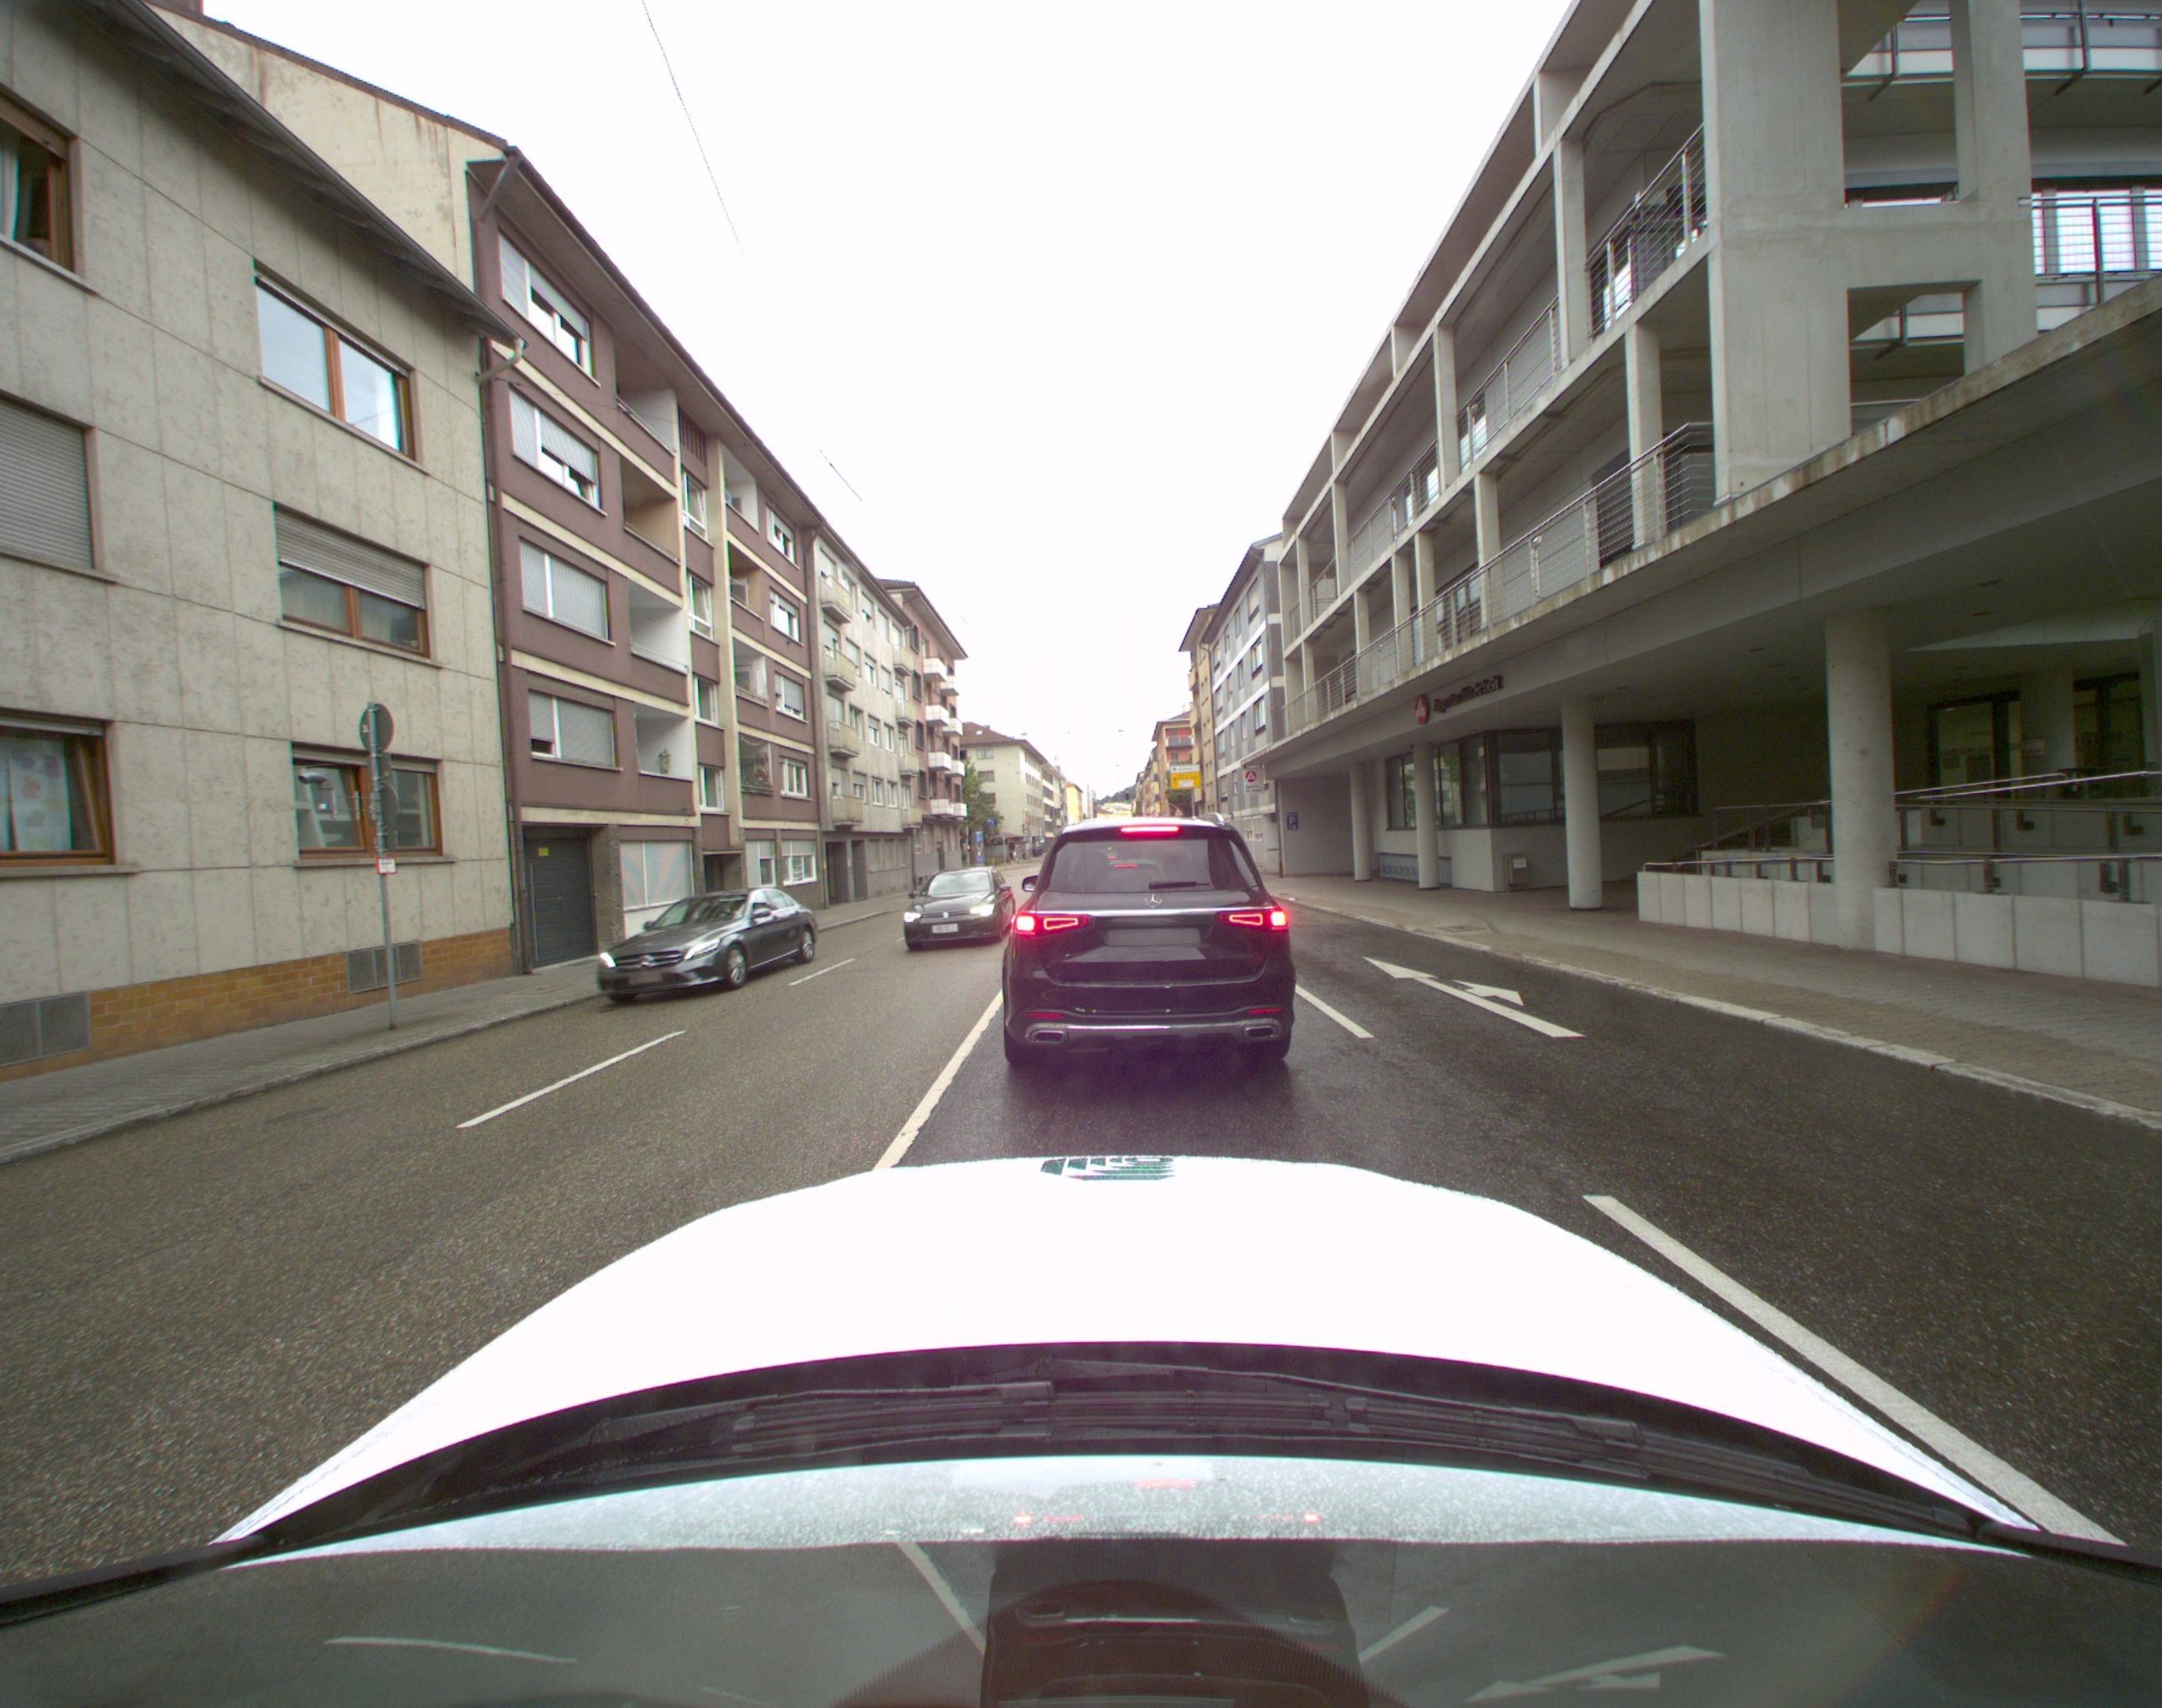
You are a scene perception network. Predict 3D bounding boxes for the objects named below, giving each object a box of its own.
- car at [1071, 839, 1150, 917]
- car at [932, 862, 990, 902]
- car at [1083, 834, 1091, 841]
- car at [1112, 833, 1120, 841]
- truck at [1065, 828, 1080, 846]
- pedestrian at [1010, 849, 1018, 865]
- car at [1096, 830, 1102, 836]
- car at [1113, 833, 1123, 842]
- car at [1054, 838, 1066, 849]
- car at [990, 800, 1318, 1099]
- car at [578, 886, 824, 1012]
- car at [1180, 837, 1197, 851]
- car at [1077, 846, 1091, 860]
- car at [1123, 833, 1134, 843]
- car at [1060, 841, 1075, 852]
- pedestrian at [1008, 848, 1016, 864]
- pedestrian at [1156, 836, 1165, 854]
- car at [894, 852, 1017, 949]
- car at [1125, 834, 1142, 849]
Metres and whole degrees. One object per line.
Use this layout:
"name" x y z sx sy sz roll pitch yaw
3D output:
"car" 0.669 0.585 20.966 1.746 1.731 4.216 -3 -1 0
"car" -4.969 1.130 34.126 1.593 1.370 4.362 -6 0 1
"car" 1.454 -3.939 193.979 1.613 1.539 4.216 -4 -1 0
"car" 7.822 -3.704 182.676 1.613 1.539 4.216 -4 -1 0
"truck" -1.599 -3.164 157.379 2.472 3.046 9.917 -4 -1 0
"pedestrian" -7.687 0.298 93.671 0.630 1.764 0.777 -3 0 17
"car" 5.550 -6.356 250.464 1.613 1.539 4.216 -4 -1 0
"car" 6.955 -3.060 153.266 1.613 1.539 4.216 -4 -1 0
"car" -3.387 -1.700 132.100 1.613 1.539 4.216 -4 -1 0
"car" 0.512 0.599 7.145 1.977 1.805 4.391 0 -1 2
"car" -5.647 1.323 12.821 1.689 1.370 4.366 -5 -1 0
"car" 12.472 -1.155 94.454 1.664 1.588 3.334 -3 0 4
"car" 0.384 -0.131 101.439 1.613 1.539 4.216 -4 -1 0
"car" 8.233 -2.789 142.203 1.613 1.387 4.216 -4 -1 0
"car" -1.892 -1.006 113.528 1.879 1.264 4.216 -4 -1 0
"pedestrian" -8.710 0.223 102.600 0.920 1.902 0.706 -3 0 0
"pedestrian" 9.352 -1.050 96.120 0.920 2.013 0.706 -3 0 0
"car" -2.391 0.860 16.559 1.689 1.580 4.218 -5 -1 1
"car" 6.797 -1.626 106.139 1.718 1.759 4.216 -4 -1 0
